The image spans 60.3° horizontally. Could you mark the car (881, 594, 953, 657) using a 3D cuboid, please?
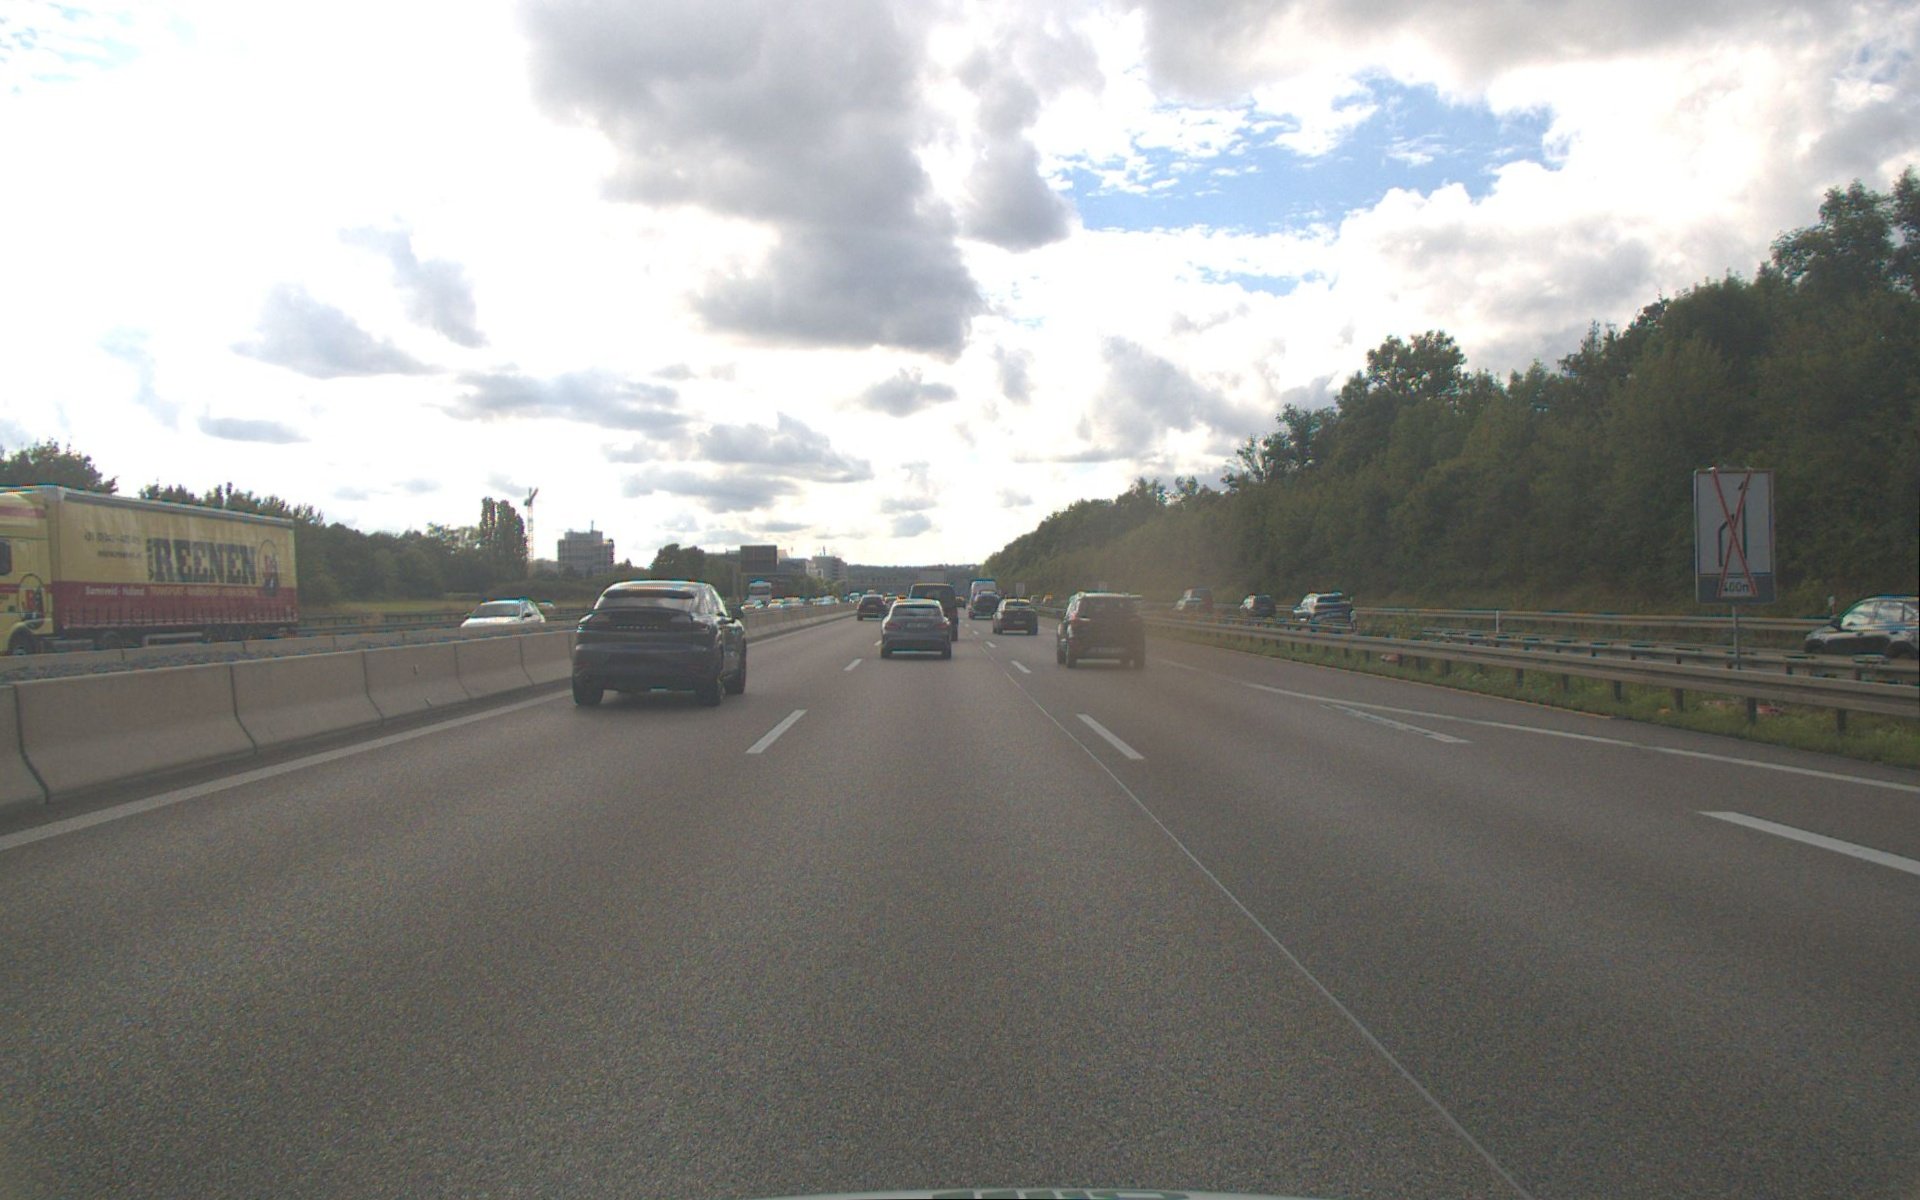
[{"bbox_3d":[-1.073,0.601,41.637,1.686,1.505,4.390,0,0,-1],"label":"car"}]

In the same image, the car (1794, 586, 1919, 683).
[{"bbox_3d":[16.437,0.549,28.457,1.806,1.510,4.525,-2,0,-1],"label":"car"}]

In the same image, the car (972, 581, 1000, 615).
[{"bbox_3d":[1.890,-0.151,121.793,1.835,2.399,4.281,0,0,-1],"label":"car"}]

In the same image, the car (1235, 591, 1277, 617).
[{"bbox_3d":[18.551,0.230,103.820,1.694,1.573,4.303,-2,0,-3],"label":"car"}]

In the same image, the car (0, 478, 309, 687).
[{"bbox_3d":[-20.642,-0.389,42.091,2.847,4.401,14.141,-1,0,-1],"label":"car"}]

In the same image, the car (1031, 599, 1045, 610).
[{"bbox_3d":[10.897,0.601,231.982,1.694,1.560,4.451,-1,0,-1],"label":"car"}]

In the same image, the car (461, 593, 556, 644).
[{"bbox_3d":[-13.347,0.513,49.129,1.632,1.426,4.533,-1,0,-1],"label":"car"}]

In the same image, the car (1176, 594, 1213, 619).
[{"bbox_3d":[15.081,0.393,106.556,1.563,1.573,4.188,0,0,-3],"label":"car"}]

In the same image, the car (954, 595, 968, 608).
[{"bbox_3d":[0.076,0.194,214.401,1.716,1.725,4.189,0,0,-1],"label":"car"}]

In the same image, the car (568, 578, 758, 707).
[{"bbox_3d":[-4.161,0.541,24.075,1.873,1.664,5.499,0,0,-1],"label":"car"}]

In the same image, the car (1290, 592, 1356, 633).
[{"bbox_3d":[15.826,0.521,72.232,1.809,1.679,4.305,-2,0,-1],"label":"car"}]

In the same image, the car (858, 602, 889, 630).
[{"bbox_3d":[-5.390,0.998,103.355,1.835,1.728,4.071,0,0,-1],"label":"car"}]

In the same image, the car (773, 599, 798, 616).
[{"bbox_3d":[-14.777,0.619,140.063,1.721,1.427,4.073,0,0,-1],"label":"car"}]

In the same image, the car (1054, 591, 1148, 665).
[{"bbox_3d":[3.134,0.599,37.483,1.663,1.592,4.112,0,0,-2],"label":"car"}]

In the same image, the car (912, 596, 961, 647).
[{"bbox_3d":[-0.854,0.738,59.447,1.686,1.754,4.390,0,0,-1],"label":"car"}]

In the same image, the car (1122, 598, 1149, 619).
[{"bbox_3d":[14.532,0.668,137.005,1.716,1.725,4.189,0,0,-1],"label":"car"}]

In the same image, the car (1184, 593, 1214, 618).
[{"bbox_3d":[18.210,0.420,126.074,1.563,1.835,3.823,0,0,-3],"label":"car"}]

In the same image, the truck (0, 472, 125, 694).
[{"bbox_3d":[-20.461,-0.336,35.160,2.838,4.399,5.160,-1,0,-1],"label":"truck"}]

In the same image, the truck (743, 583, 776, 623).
[{"bbox_3d":[-22.673,0.348,187.407,2.985,4.364,8.585,0,0,-2],"label":"truck"}]

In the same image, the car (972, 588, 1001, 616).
[{"bbox_3d":[1.840,0.135,114.879,1.874,1.952,4.029,0,0,-1],"label":"car"}]

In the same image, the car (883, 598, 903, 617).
[{"bbox_3d":[-5.971,0.669,147.775,1.663,1.639,4.112,0,0,-2],"label":"car"}]

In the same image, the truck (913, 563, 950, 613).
[{"bbox_3d":[-2.670,-1.081,153.443,3.197,4.451,11.023,1,0,-1],"label":"truck"}]

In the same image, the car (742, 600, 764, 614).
[{"bbox_3d":[-18.934,0.635,151.542,1.548,1.306,4.240,0,0,-1],"label":"car"}]

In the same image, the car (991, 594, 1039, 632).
[{"bbox_3d":[2.302,0.539,70.525,1.795,1.547,4.224,0,0,-1],"label":"car"}]

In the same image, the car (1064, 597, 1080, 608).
[{"bbox_3d":[15.711,0.347,232.228,1.717,1.543,4.188,0,0,-2],"label":"car"}]
